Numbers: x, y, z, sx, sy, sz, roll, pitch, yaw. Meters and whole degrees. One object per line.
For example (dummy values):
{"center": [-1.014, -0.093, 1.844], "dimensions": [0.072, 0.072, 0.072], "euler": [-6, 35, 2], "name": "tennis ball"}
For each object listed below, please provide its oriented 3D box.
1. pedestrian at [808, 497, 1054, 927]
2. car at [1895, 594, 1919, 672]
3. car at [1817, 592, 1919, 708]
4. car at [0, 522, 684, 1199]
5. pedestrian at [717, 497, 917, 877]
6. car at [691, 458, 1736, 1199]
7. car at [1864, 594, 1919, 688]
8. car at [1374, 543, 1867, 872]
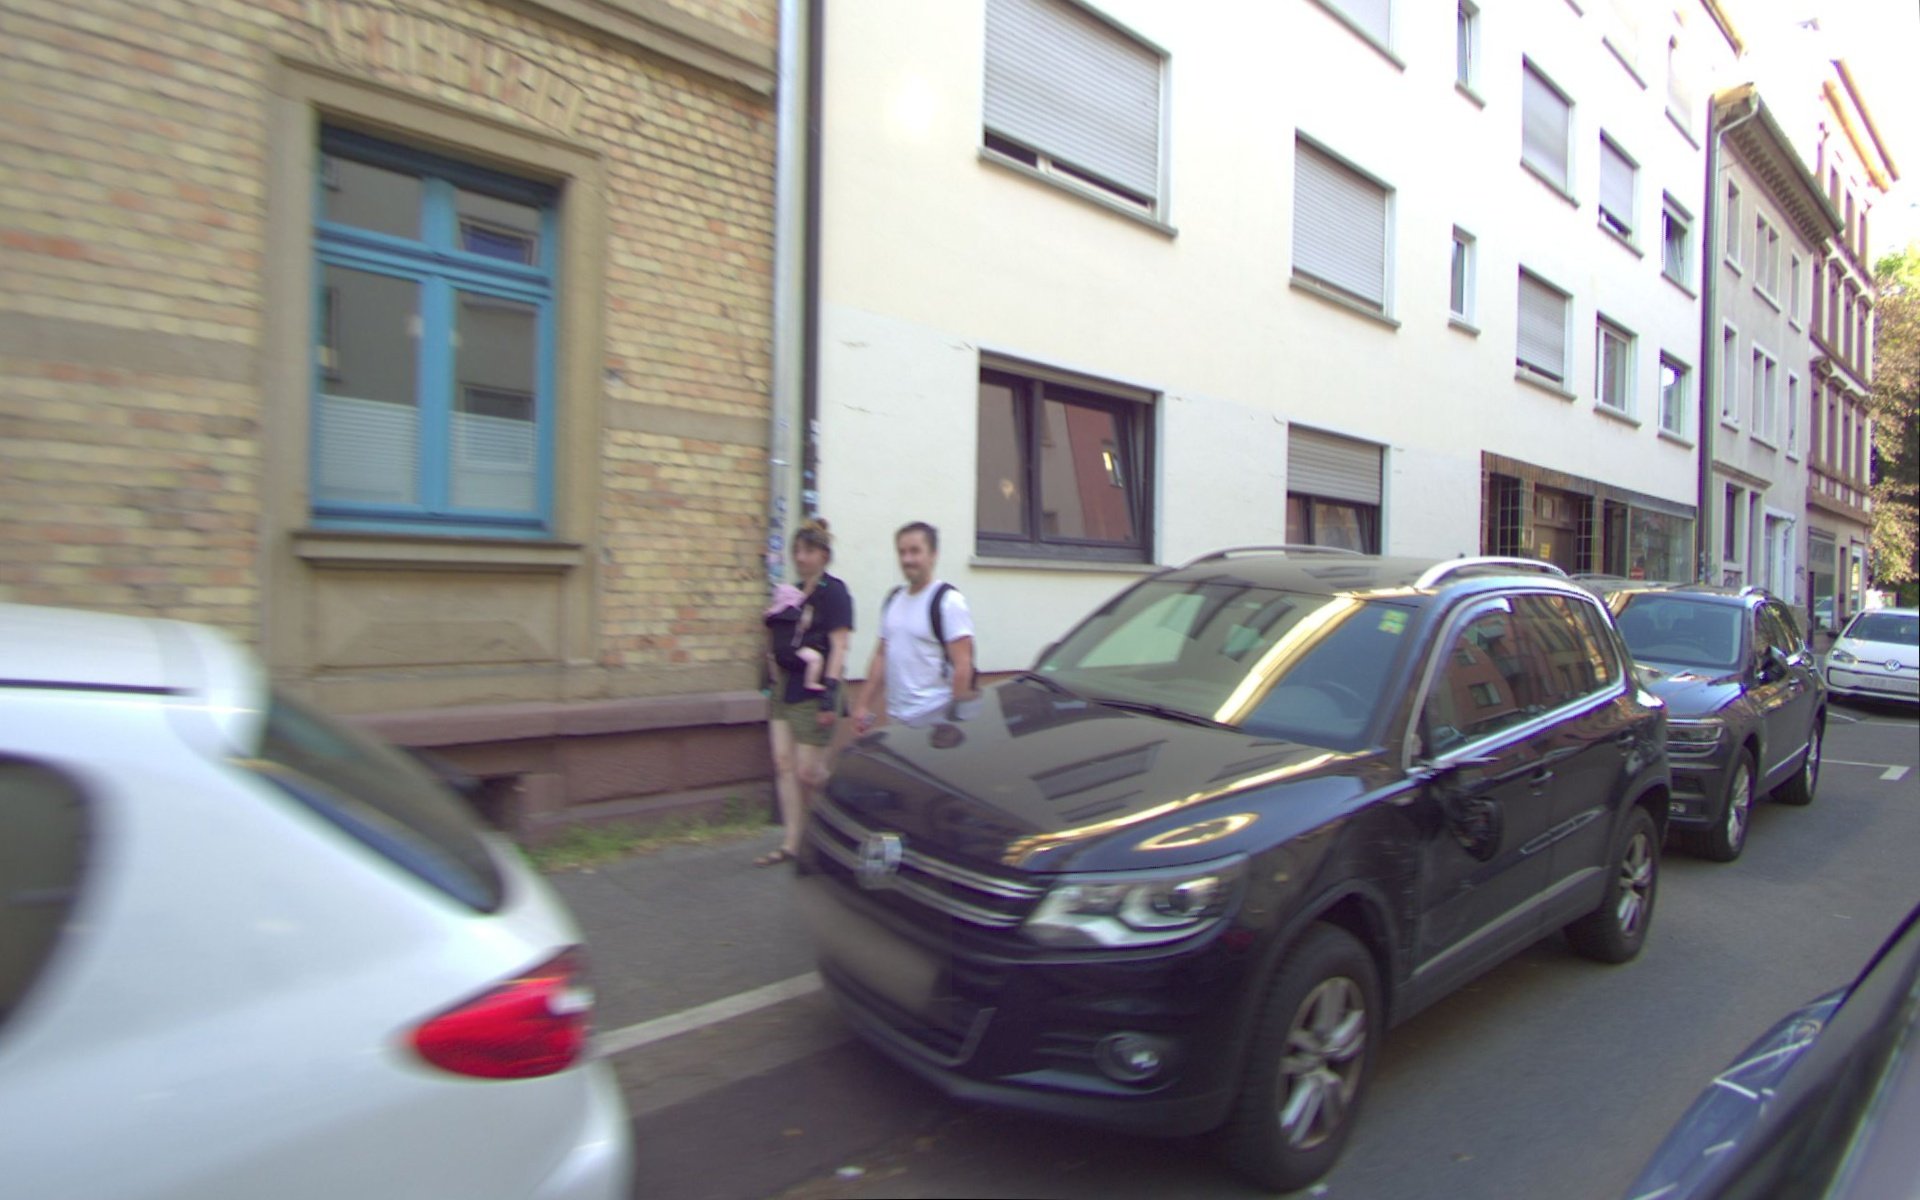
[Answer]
{"center": [-0.138, 0.431, 4.566], "dimensions": [0.739, 1.729, 0.712], "euler": [1, 4, -41], "name": "pedestrian"}
{"center": [21.178, 0.710, 21.273], "dimensions": [4.031, 1.552, 1.768], "euler": [0, 3, -41], "name": "car"}
{"center": [14.695, 0.715, 15.468], "dimensions": [4.031, 1.535, 1.768], "euler": [0, 4, -41], "name": "car"}
{"center": [-2.415, 0.629, 0.807], "dimensions": [3.937, 1.468, 1.595], "euler": [0, 4, -44], "name": "car"}
{"center": [-0.716, 0.381, 5.039], "dimensions": [0.694, 1.729, 0.599], "euler": [1, 4, -41], "name": "pedestrian"}
{"center": [1.337, 0.513, 3.979], "dimensions": [4.251, 1.687, 1.770], "euler": [0, 4, -40], "name": "car"}
{"center": [17.923, 0.730, 18.328], "dimensions": [4.031, 1.552, 1.768], "euler": [0, 3, -41], "name": "car"}
{"center": [5.033, 0.533, 7.466], "dimensions": [4.252, 1.687, 1.885], "euler": [0, 4, -41], "name": "car"}
